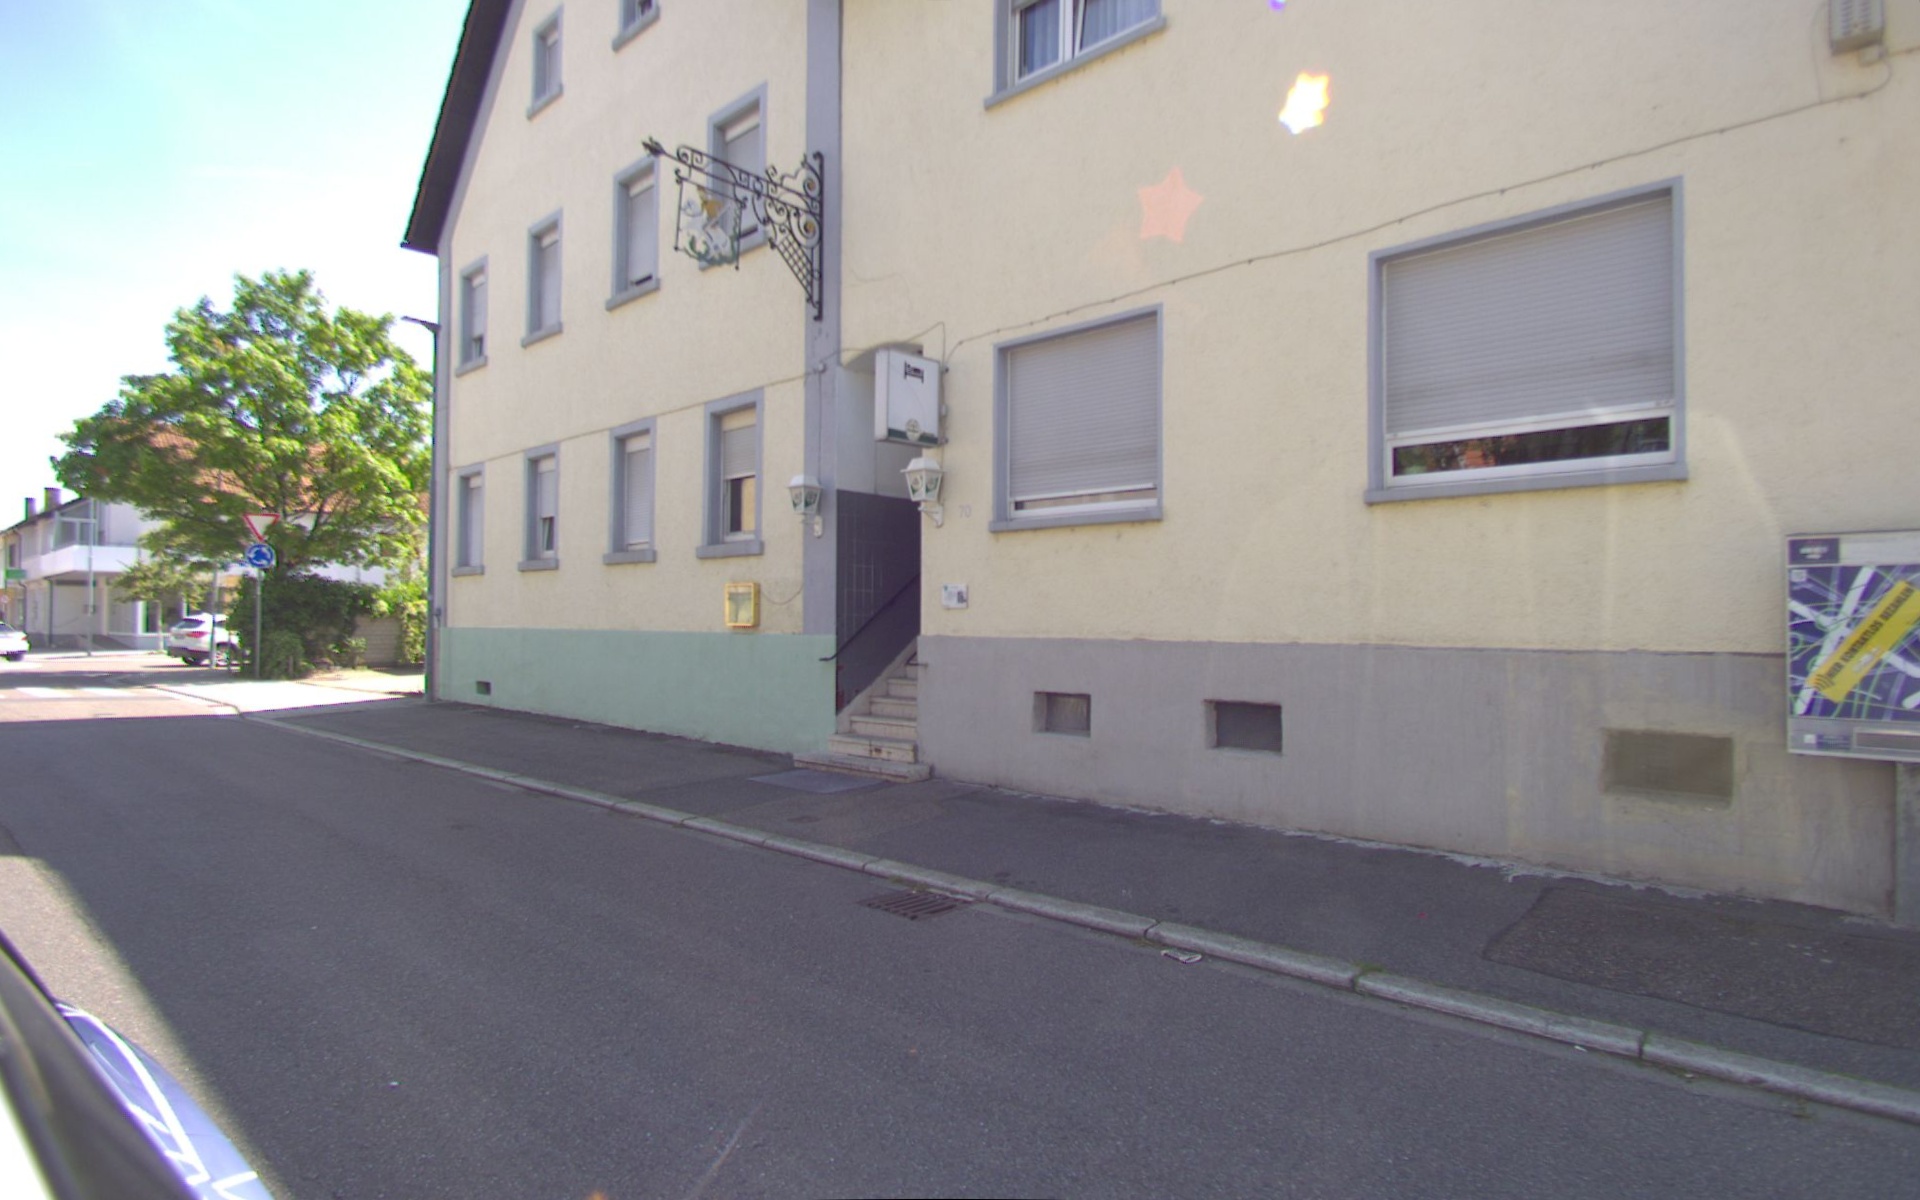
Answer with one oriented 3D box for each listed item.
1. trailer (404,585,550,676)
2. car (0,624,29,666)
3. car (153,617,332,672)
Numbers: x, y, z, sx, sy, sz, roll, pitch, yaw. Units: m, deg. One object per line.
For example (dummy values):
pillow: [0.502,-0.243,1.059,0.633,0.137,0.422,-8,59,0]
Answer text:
trailer: [-13.407,0.815,27.989,4.224,2.297,2.151,-1,-1,41]
car: [-34.078,1.518,34.353,4.127,1.404,1.592,-1,-1,13]
car: [-22.900,1.375,32.500,1.798,1.631,4.408,-1,-1,26]
